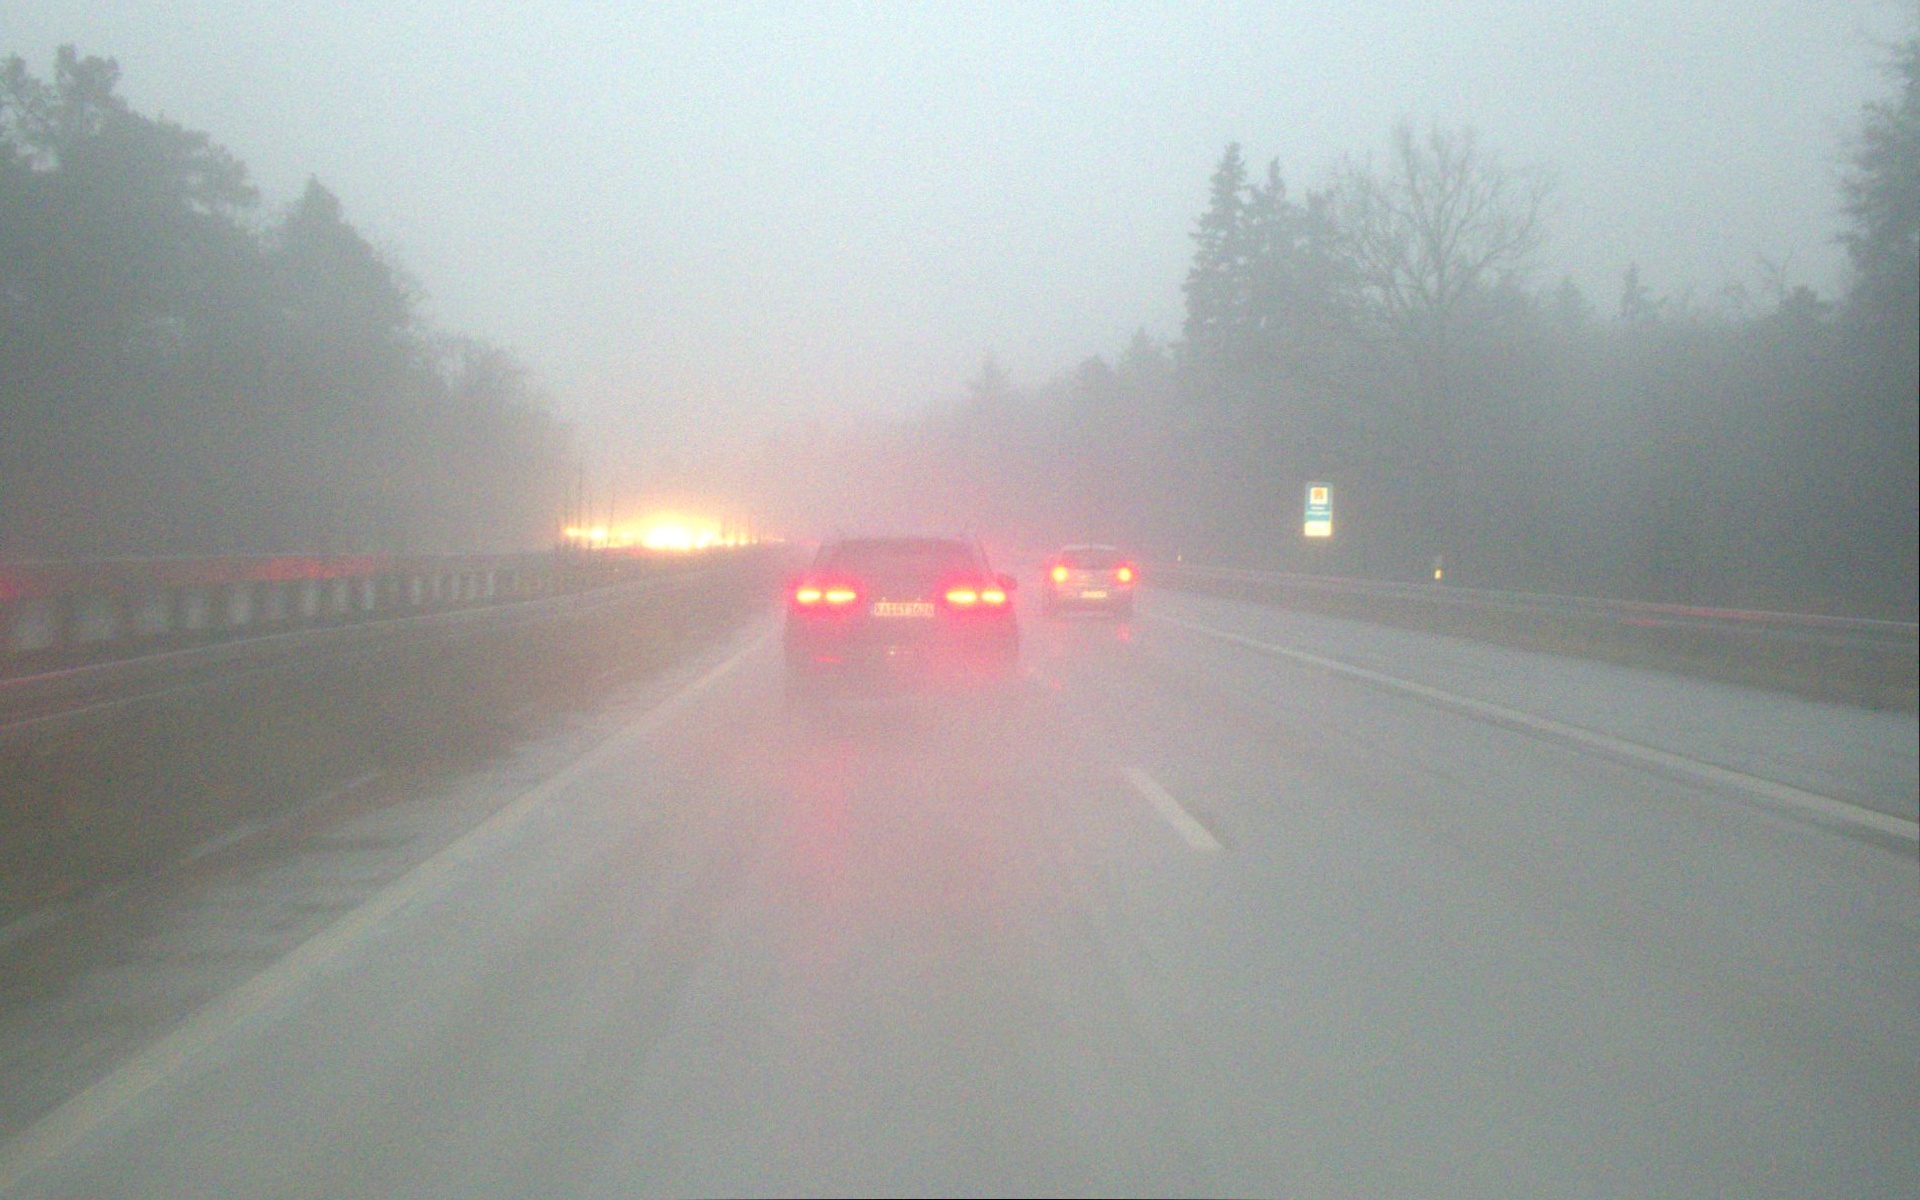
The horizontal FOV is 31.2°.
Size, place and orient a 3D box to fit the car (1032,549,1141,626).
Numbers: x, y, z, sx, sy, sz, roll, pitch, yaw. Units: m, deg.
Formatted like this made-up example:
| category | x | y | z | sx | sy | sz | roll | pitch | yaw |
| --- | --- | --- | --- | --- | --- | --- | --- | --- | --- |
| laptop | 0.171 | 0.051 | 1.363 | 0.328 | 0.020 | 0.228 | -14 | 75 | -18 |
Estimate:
| category | x | y | z | sx | sy | sz | roll | pitch | yaw |
| --- | --- | --- | --- | --- | --- | --- | --- | --- | --- |
| car | 2.455 | -0.268 | 67.387 | 1.780 | 1.432 | 3.538 | 1 | 1 | -3 |

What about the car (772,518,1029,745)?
| category | x | y | z | sx | sy | sz | roll | pitch | yaw |
| --- | --- | --- | --- | --- | --- | --- | --- | --- | --- |
| car | -0.512 | 0.208 | 28.899 | 1.986 | 1.761 | 4.174 | 0 | 1 | -1 |
